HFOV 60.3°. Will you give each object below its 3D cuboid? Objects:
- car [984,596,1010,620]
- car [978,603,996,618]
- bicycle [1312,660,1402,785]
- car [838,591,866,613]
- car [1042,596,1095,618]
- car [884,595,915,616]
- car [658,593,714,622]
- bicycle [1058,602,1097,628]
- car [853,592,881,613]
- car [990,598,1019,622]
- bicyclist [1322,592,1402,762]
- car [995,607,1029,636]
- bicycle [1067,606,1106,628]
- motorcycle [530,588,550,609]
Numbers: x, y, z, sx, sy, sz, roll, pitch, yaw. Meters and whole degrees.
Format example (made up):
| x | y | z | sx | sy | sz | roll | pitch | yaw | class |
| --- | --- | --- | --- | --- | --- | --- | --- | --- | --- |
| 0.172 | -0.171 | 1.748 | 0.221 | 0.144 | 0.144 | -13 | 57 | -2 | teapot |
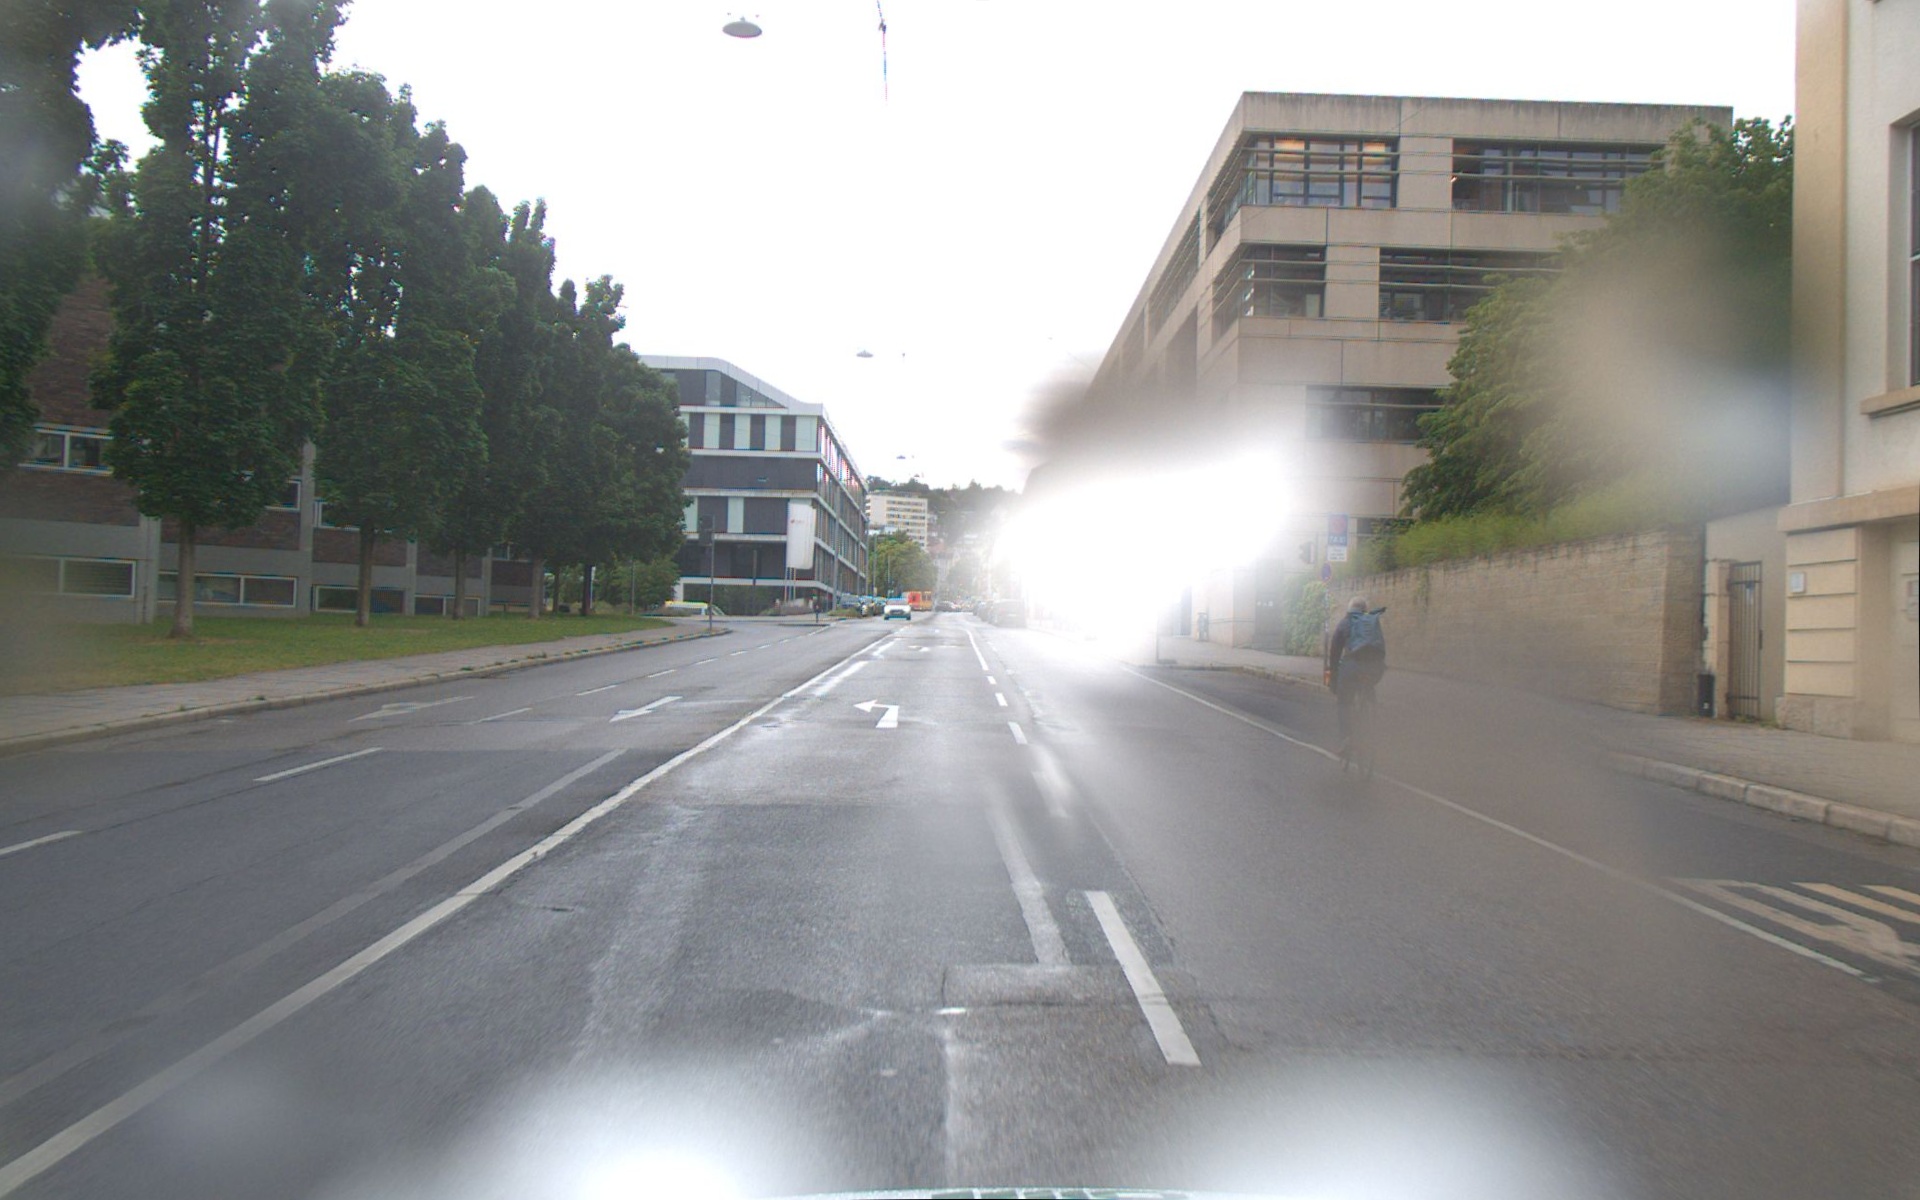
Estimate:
| x | y | z | sx | sy | sz | roll | pitch | yaw | class |
| --- | --- | --- | --- | --- | --- | --- | --- | --- | --- |
| 2.983 | 0.654 | 132.872 | 1.896 | 1.780 | 4.796 | 2 | 0 | -1 | car |
| 2.709 | 1.053 | 167.141 | 1.671 | 1.479 | 3.984 | 2 | 0 | -1 | car |
| 3.584 | 1.080 | 15.036 | 0.438 | 0.980 | 1.690 | 2 | 0 | 2 | bicycle |
| -8.342 | 0.177 | 128.193 | 1.811 | 1.646 | 4.490 | 2 | 0 | 0 | car |
| 9.314 | 0.603 | 141.728 | 4.348 | 1.743 | 1.904 | -1 | -1 | -1 | car |
| -4.369 | 0.375 | 119.480 | 1.842 | 1.517 | 5.221 | -1 | 0 | 2 | car |
| -23.244 | 0.627 | 140.370 | 4.502 | 2.212 | 1.929 | 2 | -1 | -6 | car |
| 5.508 | 0.709 | 77.465 | 1.696 | 1.138 | 0.659 | 1 | -1 | -6 | bicycle |
| -8.144 | 0.218 | 145.041 | 1.922 | 1.780 | 4.943 | 2 | 0 | 2 | car |
| 3.103 | 0.700 | 116.535 | 1.708 | 1.560 | 4.318 | 2 | 0 | -2 | car |
| 3.611 | 0.678 | 14.886 | 0.474 | 1.458 | 0.930 | 2 | -1 | 2 | bicyclist |
| 3.143 | 1.295 | 100.258 | 1.735 | 1.632 | 4.393 | 2 | 0 | -2 | car |
| 5.857 | 0.775 | 76.488 | 1.724 | 0.970 | 0.659 | 1 | -1 | -4 | bicycle |
| -23.359 | -0.080 | 91.986 | 1.147 | 1.145 | 0.411 | 0 | -2 | 38 | motorcycle |
